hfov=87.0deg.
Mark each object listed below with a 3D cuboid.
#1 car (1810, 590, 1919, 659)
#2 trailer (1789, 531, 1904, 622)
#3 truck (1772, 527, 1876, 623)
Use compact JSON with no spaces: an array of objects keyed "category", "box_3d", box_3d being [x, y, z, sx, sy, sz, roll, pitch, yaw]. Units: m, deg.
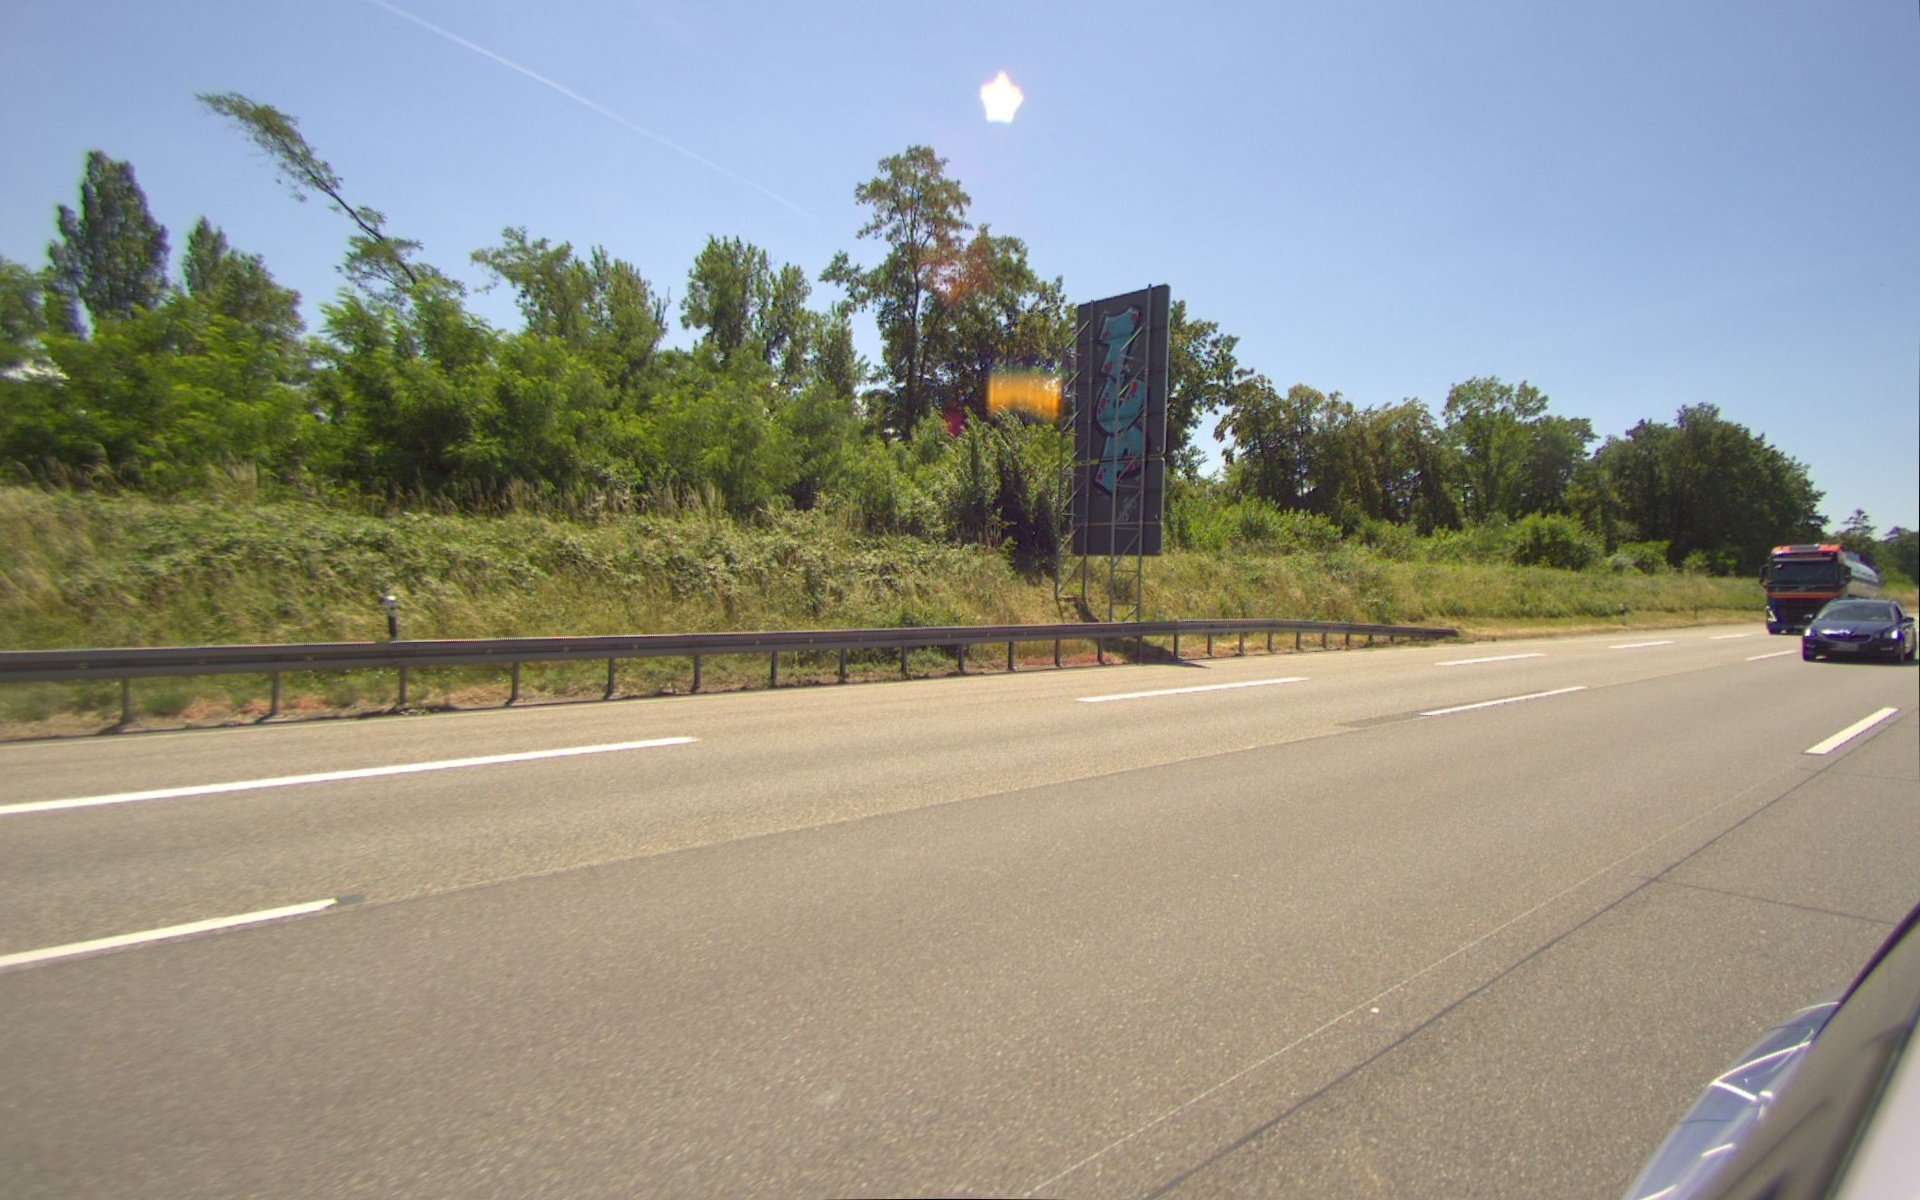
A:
[{"category":"car","box_3d":[21.646,0.511,23.921,4.198,1.502,1.804,0,0,-42]},{"category":"trailer","box_3d":[41.129,-1.020,46.764,11.348,3.781,2.533,0,0,-41]},{"category":"truck","box_3d":[36.605,-0.991,42.808,5.992,3.781,2.533,0,0,-41]}]
